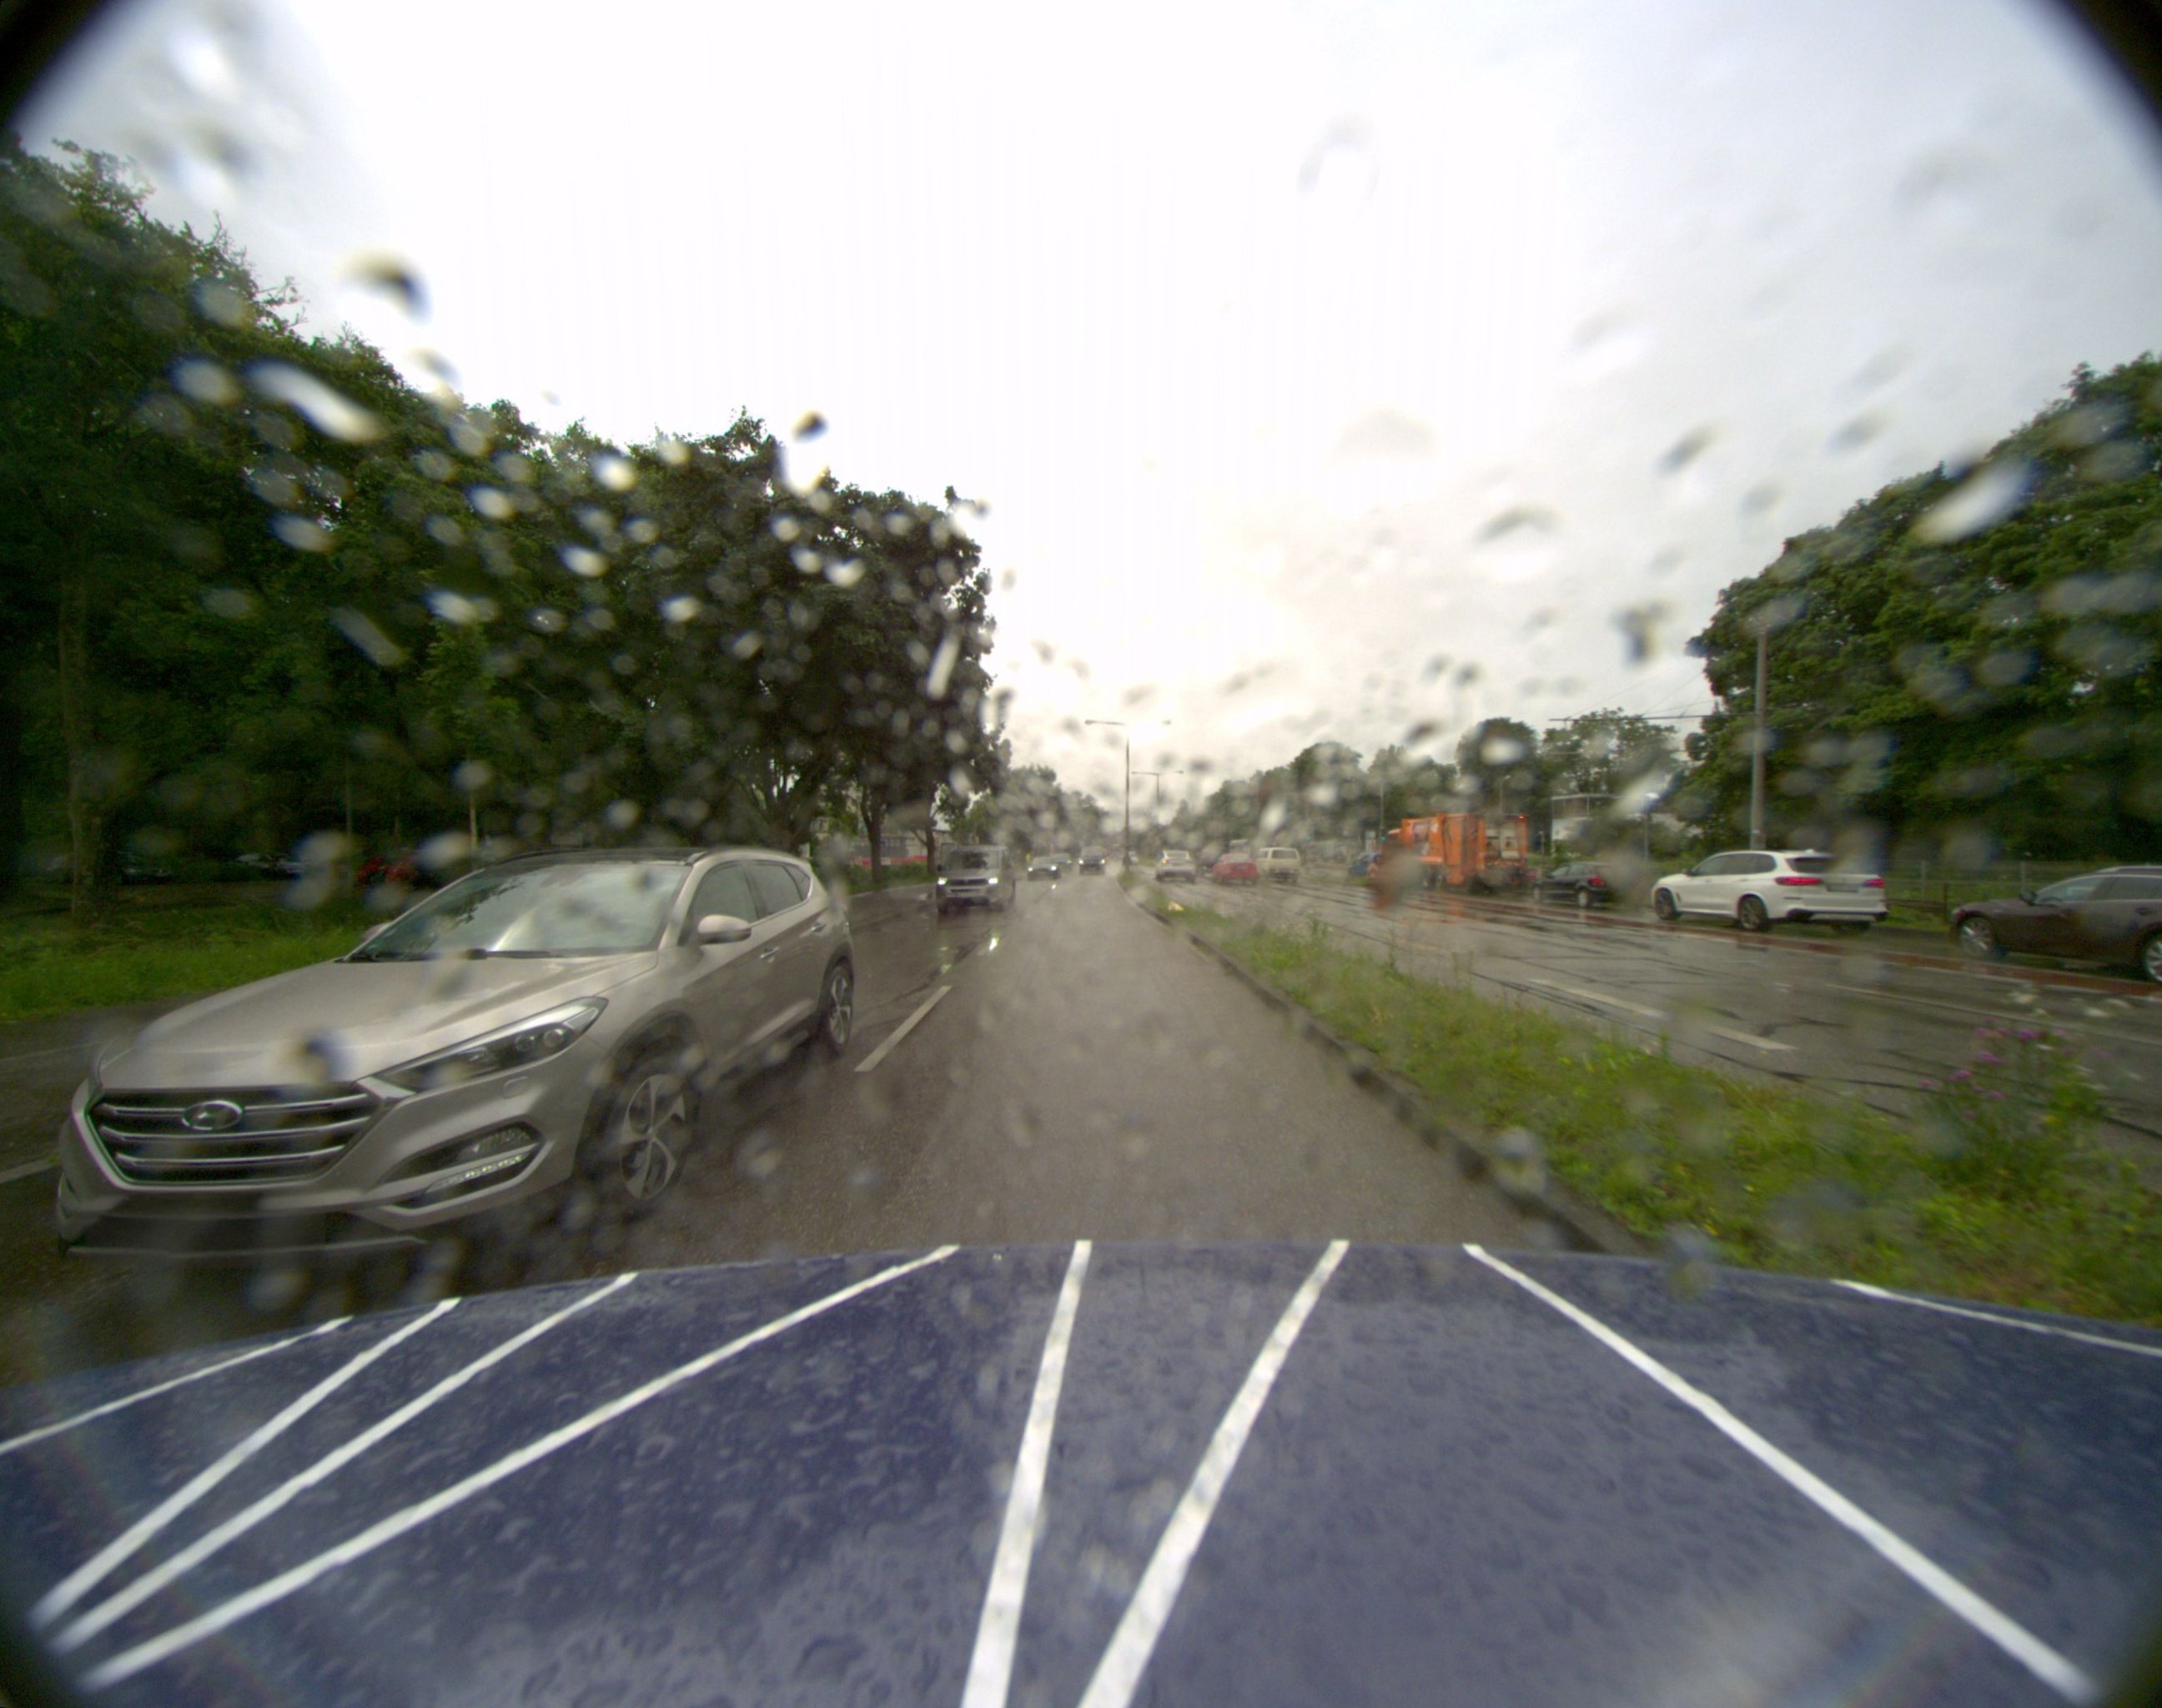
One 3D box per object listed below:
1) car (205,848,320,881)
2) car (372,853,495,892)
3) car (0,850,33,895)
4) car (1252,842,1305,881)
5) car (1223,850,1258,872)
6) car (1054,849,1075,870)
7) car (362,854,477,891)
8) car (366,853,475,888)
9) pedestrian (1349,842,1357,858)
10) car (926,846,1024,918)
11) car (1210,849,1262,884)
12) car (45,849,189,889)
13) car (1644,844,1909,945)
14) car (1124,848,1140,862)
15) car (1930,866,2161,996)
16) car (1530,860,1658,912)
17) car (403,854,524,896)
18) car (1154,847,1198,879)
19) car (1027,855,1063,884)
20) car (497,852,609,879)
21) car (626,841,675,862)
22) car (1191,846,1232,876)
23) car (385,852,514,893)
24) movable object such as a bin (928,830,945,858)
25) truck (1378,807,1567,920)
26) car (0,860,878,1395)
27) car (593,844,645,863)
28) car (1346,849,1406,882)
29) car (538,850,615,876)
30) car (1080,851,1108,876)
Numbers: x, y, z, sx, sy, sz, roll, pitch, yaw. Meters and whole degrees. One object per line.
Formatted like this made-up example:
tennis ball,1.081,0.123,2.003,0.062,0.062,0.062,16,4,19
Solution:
car,-44.518,0.549,41.393,4.292,1.601,1.900,-2,1,4
car,-27.605,0.764,32.476,1.665,1.441,3.759,-1,2,41
car,-33.025,0.604,21.479,1.576,1.308,3.701,-2,1,0
car,11.147,0.383,43.165,1.933,2.006,4.743,2,1,3
car,11.334,0.439,54.165,1.645,1.419,3.999,2,1,0
car,-1.406,0.478,65.742,1.651,1.652,3.776,-2,1,1
car,-29.802,0.813,34.369,3.759,1.441,1.665,-3,2,-40
car,-31.116,0.747,35.906,3.759,1.441,1.599,-3,2,-40
pedestrian,29.979,-0.443,83.810,0.631,1.782,0.681,-2,2,2
car,-2.925,0.709,21.974,1.998,1.785,4.562,-2,1,2
car,7.650,0.563,37.834,1.805,1.560,4.428,1,1,2
car,-44.145,0.652,34.848,4.292,1.601,1.920,-2,1,4
car,15.196,0.767,17.083,1.997,1.817,4.773,-3,1,8
car,6.039,0.116,89.211,1.740,1.535,4.014,-1,1,5
car,14.184,0.964,9.984,1.874,1.477,4.512,0,1,15
car,15.983,0.941,23.911,1.591,1.371,3.686,2,1,2
car,-23.375,0.760,28.821,3.395,1.344,1.520,-3,2,-43
car,5.082,0.453,41.085,1.965,1.608,4.697,0,0,2
car,-2.217,0.902,47.413,1.858,1.583,4.000,-2,1,2
car,-32.497,0.691,46.853,5.411,1.441,2.168,-2,1,5
car,-42.048,-0.242,74.193,4.185,1.953,1.928,-2,1,24
car,8.003,0.378,47.031,1.810,1.763,5.089,1,1,2
car,-25.696,0.718,31.012,1.665,1.441,3.759,-1,2,41
movable object such as a bin,-23.711,-1.610,124.559,1.557,4.401,3.909,-2,1,5
truck,16.819,0.260,33.903,3.393,4.144,10.406,-2,1,3
car,-2.749,0.907,4.547,1.889,1.601,4.194,-1,1,0
car,-41.671,-0.034,68.562,3.665,1.588,1.721,-2,1,5
car,17.265,0.611,44.748,1.998,1.699,4.527,-2,1,4
car,-33.602,0.576,50.616,3.994,1.516,1.884,-2,1,10
car,0.995,0.675,56.544,1.812,1.683,3.777,-2,1,3
